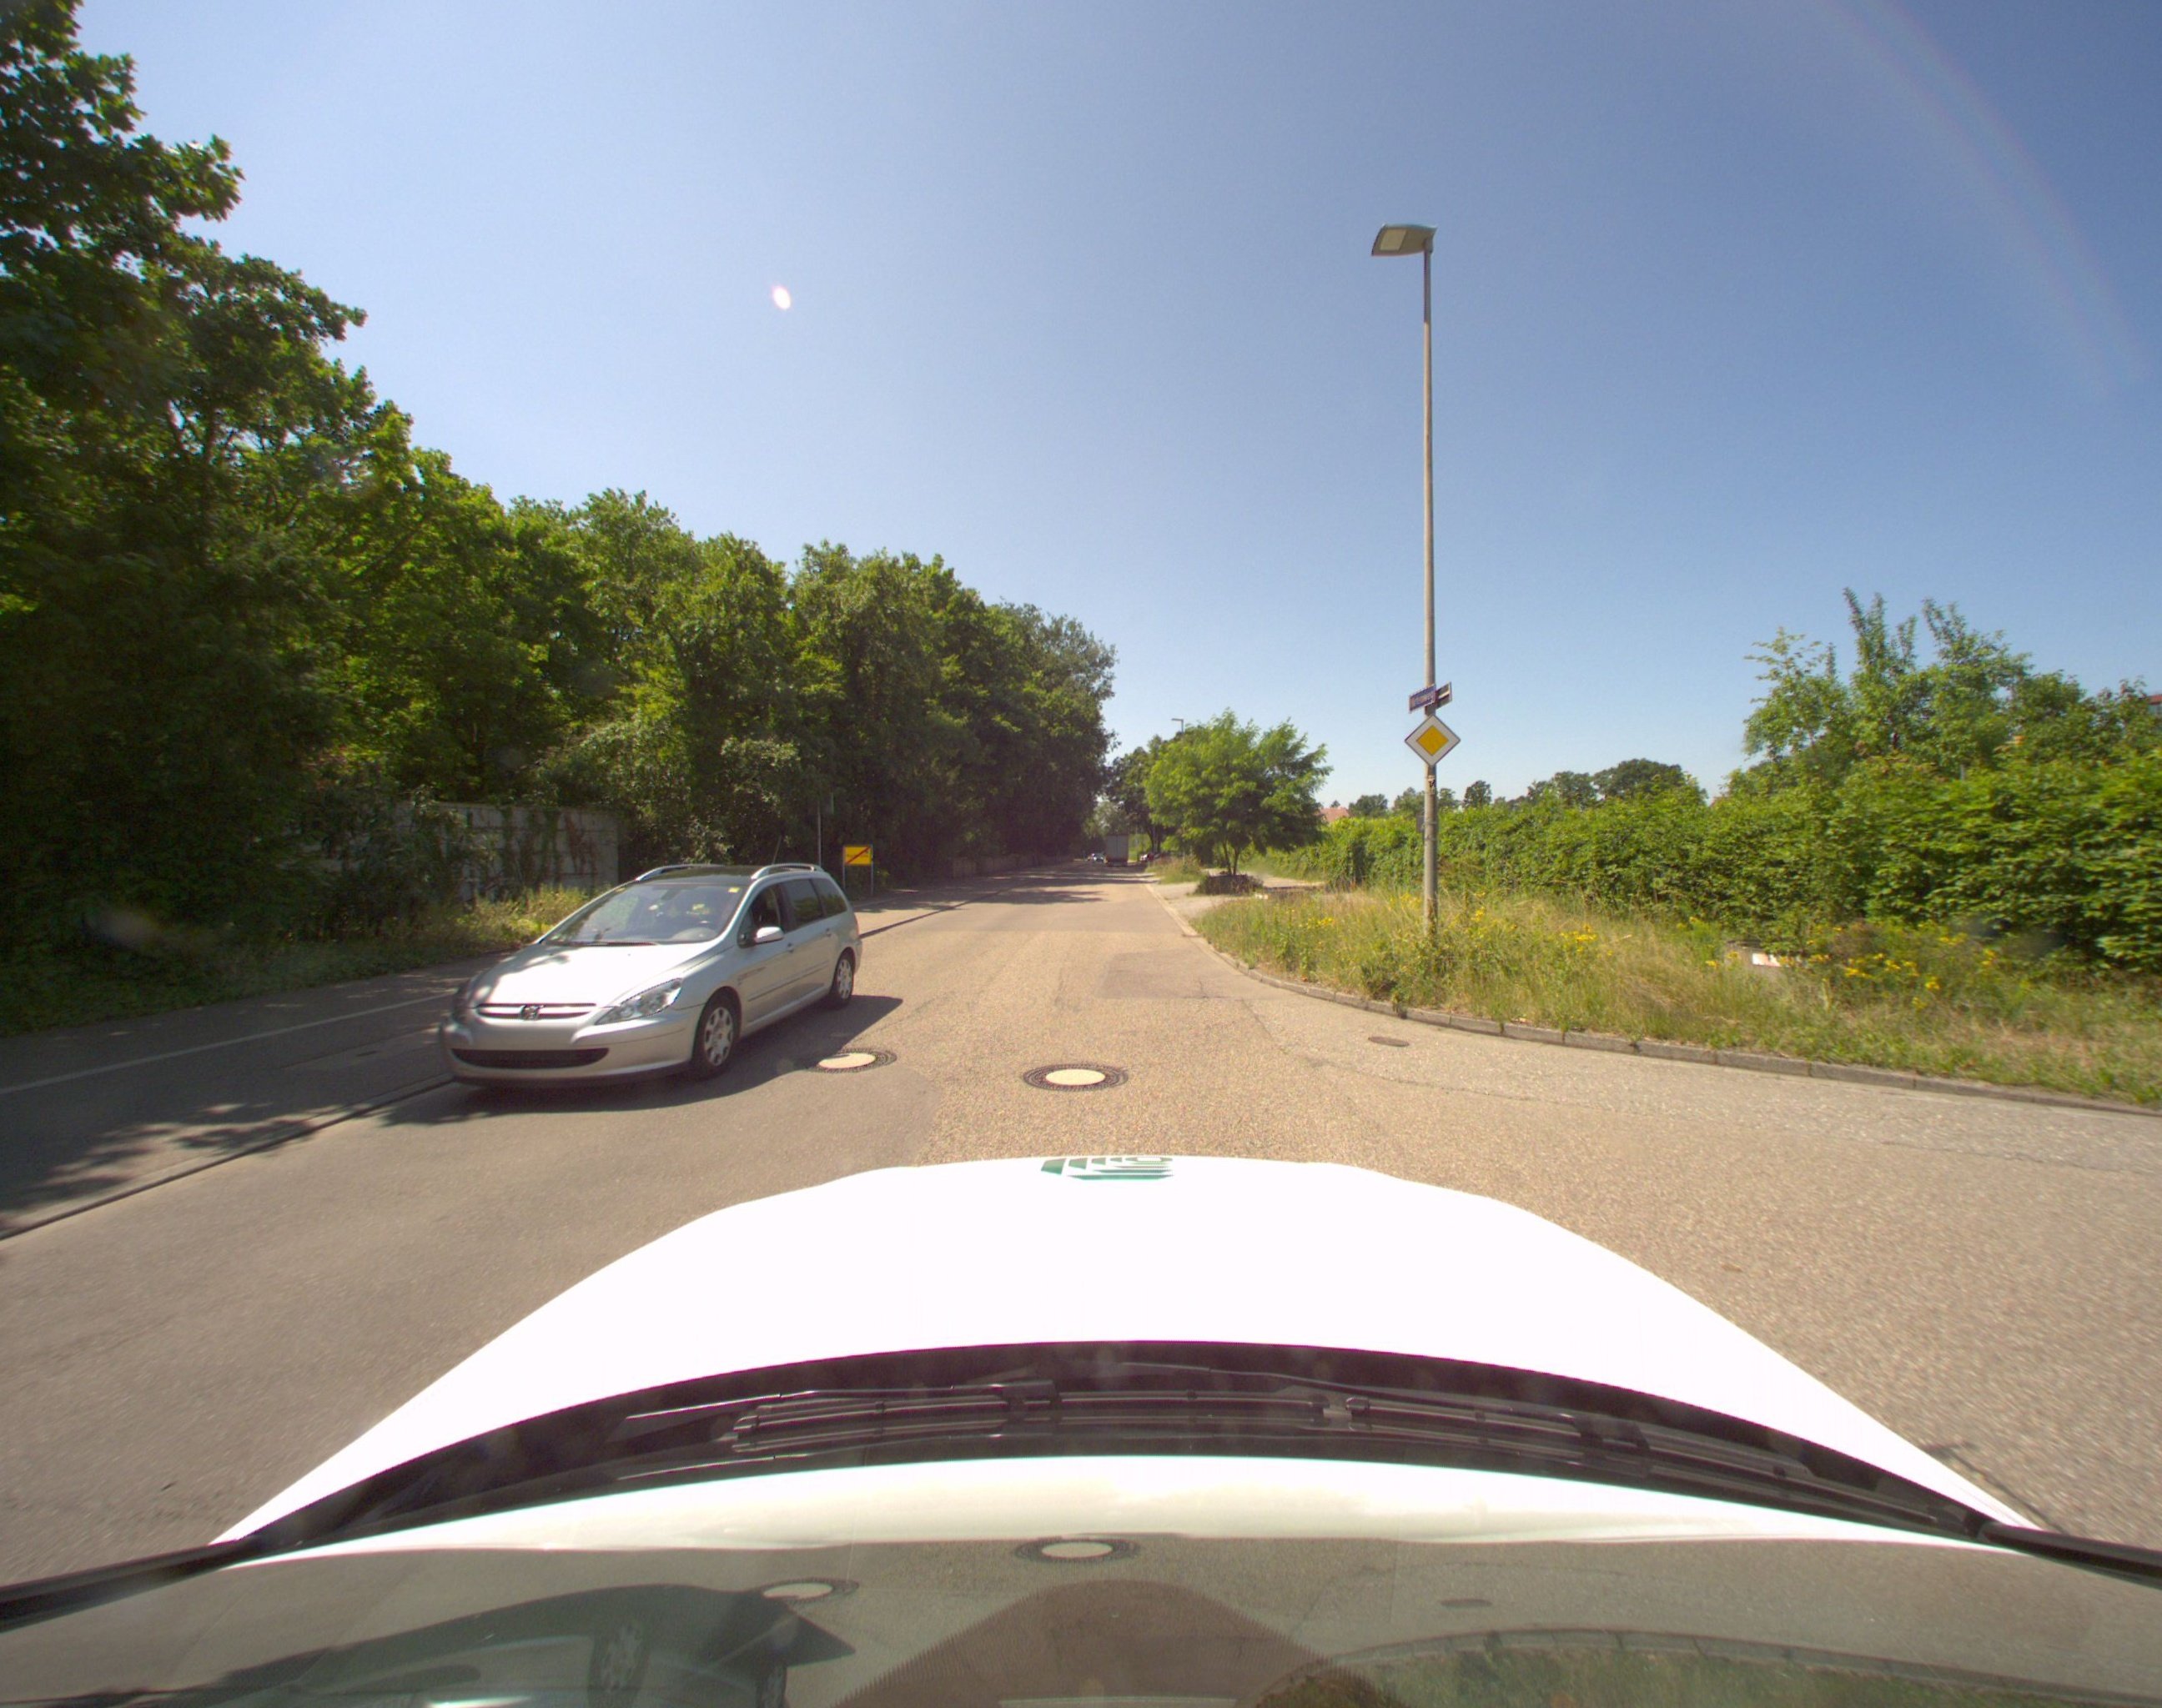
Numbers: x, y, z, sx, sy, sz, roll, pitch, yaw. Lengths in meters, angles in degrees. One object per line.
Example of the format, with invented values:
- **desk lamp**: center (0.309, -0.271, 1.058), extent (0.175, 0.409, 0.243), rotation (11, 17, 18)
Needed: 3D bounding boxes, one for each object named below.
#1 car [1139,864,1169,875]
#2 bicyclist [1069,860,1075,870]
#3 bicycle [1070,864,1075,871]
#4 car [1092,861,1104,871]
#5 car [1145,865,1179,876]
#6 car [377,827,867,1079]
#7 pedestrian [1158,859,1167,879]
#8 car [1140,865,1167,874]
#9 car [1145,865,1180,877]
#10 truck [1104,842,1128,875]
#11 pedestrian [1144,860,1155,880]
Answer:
- **car**: center (10.172, 2.179, 113.549), extent (4.178, 1.445, 1.740), rotation (-1, -1, 3)
- **bicyclist**: center (-1.570, 1.958, 143.184), extent (0.829, 1.716, 0.958), rotation (-1, -1, 3)
- **bicycle**: center (-1.567, 2.399, 143.181), extent (0.715, 1.159, 2.232), rotation (-1, -1, 3)
- **car**: center (2.891, 2.066, 137.756), extent (1.985, 1.684, 4.265), rotation (-1, -1, 3)
- **car**: center (10.202, 2.072, 102.783), extent (4.178, 1.445, 1.740), rotation (-1, -1, 3)
- **car**: center (-3.487, 0.645, 7.303), extent (1.784, 1.573, 4.275), rotation (-1, 0, 3)
- **pedestrian**: center (7.265, 1.347, 72.956), extent (0.736, 1.738, 0.886), rotation (-1, -1, 1)
- **car**: center (11.335, 2.425, 127.351), extent (4.178, 1.445, 1.740), rotation (-1, -1, 3)
- **car**: center (9.953, 2.025, 99.247), extent (4.178, 1.445, 1.740), rotation (-1, -1, 3)
- **truck**: center (4.303, 0.608, 98.812), extent (2.722, 3.746, 13.254), rotation (1, -1, 3)
- **pedestrian**: center (6.063, 1.411, 72.064), extent (0.860, 1.677, 0.885), rotation (-1, -1, 1)
